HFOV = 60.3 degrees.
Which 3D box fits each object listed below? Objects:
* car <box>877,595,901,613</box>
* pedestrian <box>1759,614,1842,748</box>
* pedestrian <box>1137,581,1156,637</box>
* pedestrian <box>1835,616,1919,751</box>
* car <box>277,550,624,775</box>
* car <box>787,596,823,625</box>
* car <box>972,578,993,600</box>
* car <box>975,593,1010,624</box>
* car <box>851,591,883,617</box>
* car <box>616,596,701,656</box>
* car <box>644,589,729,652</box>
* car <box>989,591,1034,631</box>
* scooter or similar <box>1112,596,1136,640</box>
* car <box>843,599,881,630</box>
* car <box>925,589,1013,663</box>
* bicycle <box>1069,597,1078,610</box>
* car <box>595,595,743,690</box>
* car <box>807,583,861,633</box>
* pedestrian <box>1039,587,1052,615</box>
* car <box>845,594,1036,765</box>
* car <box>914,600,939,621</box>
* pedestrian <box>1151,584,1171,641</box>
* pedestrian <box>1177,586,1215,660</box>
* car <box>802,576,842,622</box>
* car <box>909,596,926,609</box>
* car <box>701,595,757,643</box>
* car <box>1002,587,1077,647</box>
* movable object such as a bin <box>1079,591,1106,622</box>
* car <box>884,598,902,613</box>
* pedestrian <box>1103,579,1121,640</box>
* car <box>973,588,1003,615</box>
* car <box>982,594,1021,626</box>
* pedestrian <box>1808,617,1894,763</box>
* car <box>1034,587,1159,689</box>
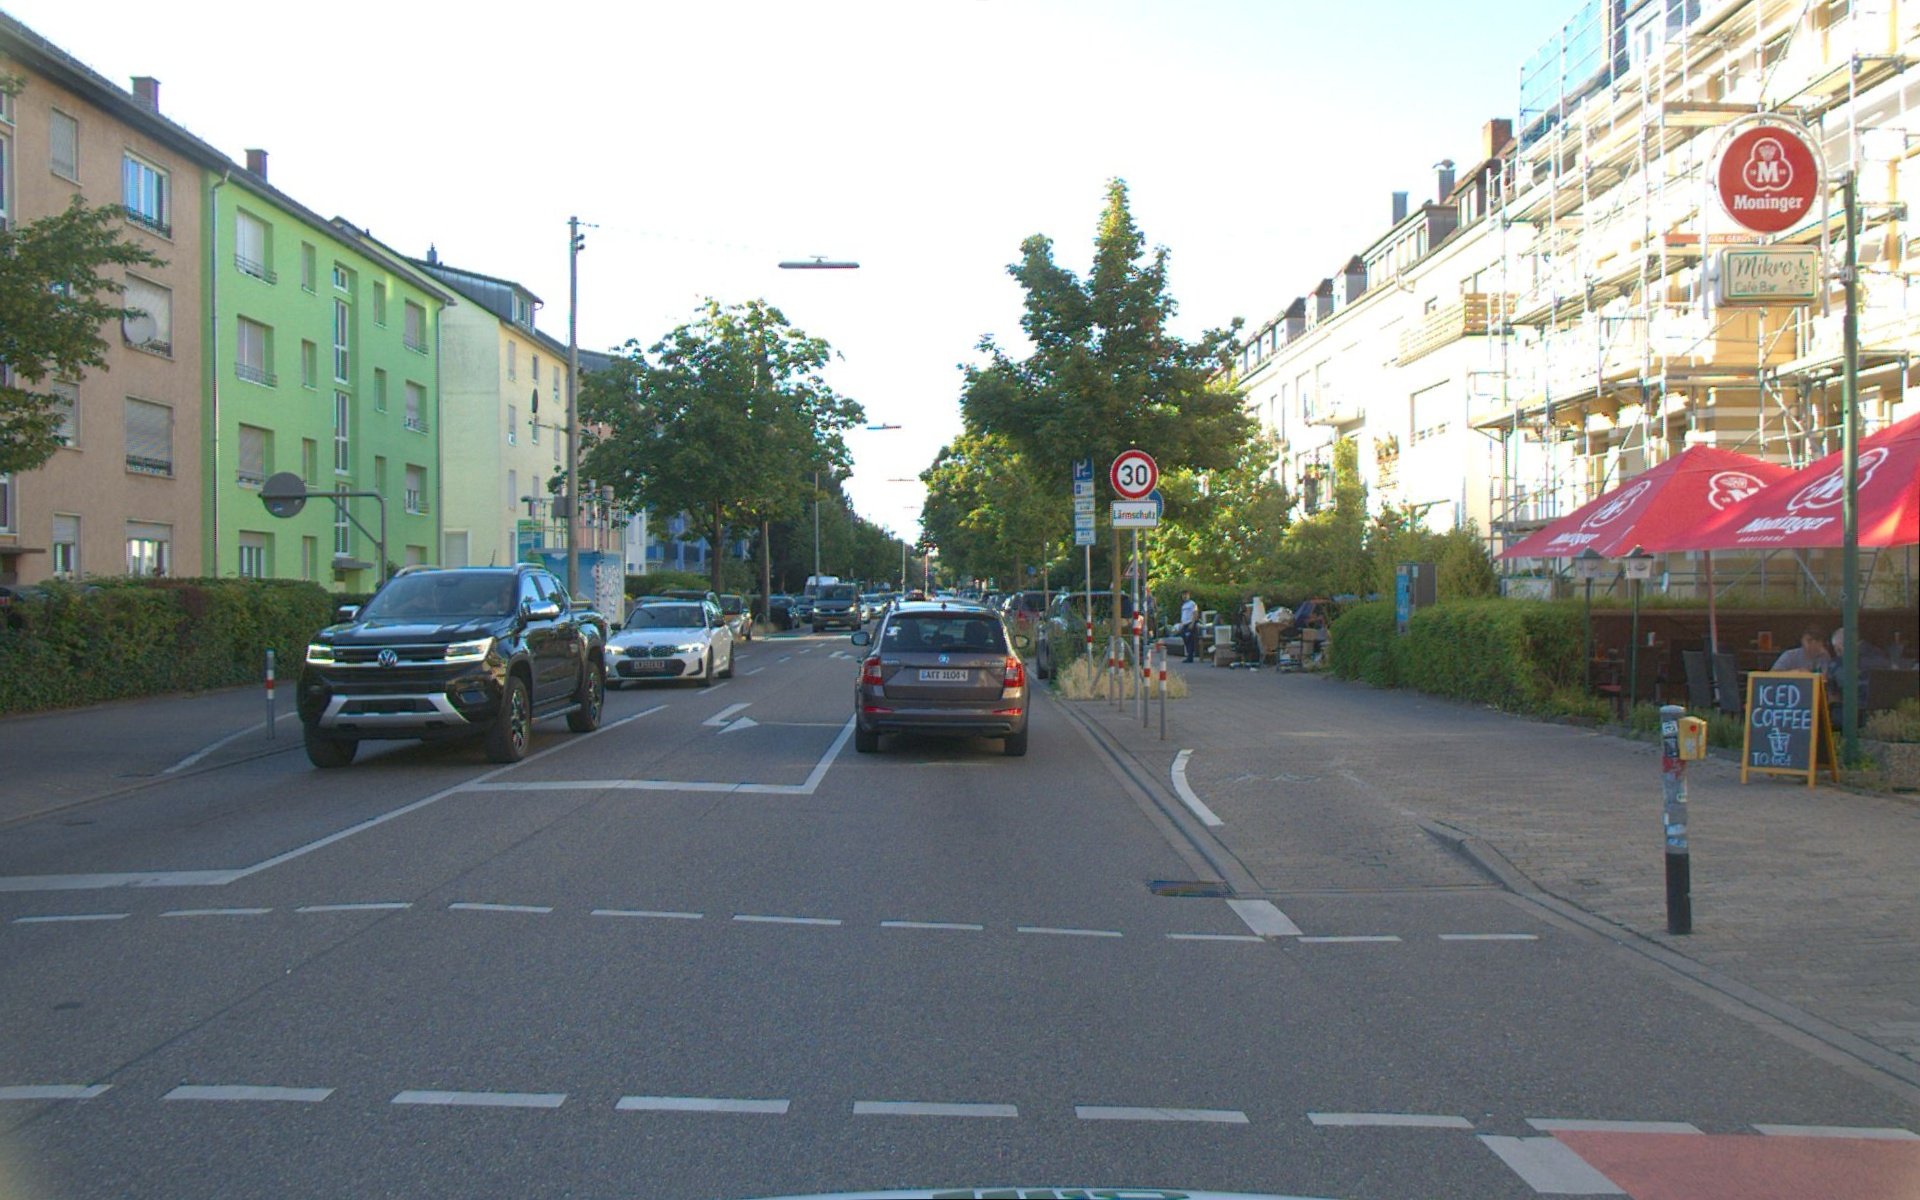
[{"bbox_3d":[-6.076,0.360,142.052,1.665,1.496,4.295,-1,0,2],"label":"car"},{"bbox_3d":[7.471,0.708,14.718,0.483,1.170,0.526,0,0,3],"label":"pedestrian"},{"bbox_3d":[5.759,0.265,51.058,0.500,1.726,0.526,0,0,-5],"label":"pedestrian"},{"bbox_3d":[8.133,0.726,14.671,0.476,1.170,0.526,0,0,3],"label":"pedestrian"},{"bbox_3d":[-4.897,0.529,16.780,1.824,1.861,5.227,-2,0,0],"label":"car"},{"bbox_3d":[-8.407,0.549,89.903,1.579,1.498,3.812,2,0,-1],"label":"car"},{"bbox_3d":[1.868,-0.896,137.946,1.718,1.716,4.252,1,0,1],"label":"car"},{"bbox_3d":[1.724,0.436,88.370,1.683,1.629,4.095,0,0,-1],"label":"car"},{"bbox_3d":[-5.839,0.249,104.051,1.795,1.496,4.450,-3,0,-1],"label":"car"},{"bbox_3d":[-8.046,0.659,44.430,1.648,1.547,4.189,0,0,-2],"label":"car"},{"bbox_3d":[-8.088,0.575,49.293,1.747,1.763,4.617,0,0,0],"label":"car"},{"bbox_3d":[2.172,0.461,70.673,1.836,1.609,4.821,-1,0,1],"label":"car"},{"bbox_3d":[5.059,0.558,50.876,0.730,1.340,0.721,0,0,6],"label":"scooter or similar"},{"bbox_3d":[-5.078,0.719,86.003,1.779,1.472,4.109,-3,0,-2],"label":"car"},{"bbox_3d":[0.166,0.599,38.339,1.854,1.532,3.788,3,-1,-1],"label":"car"},{"bbox_3d":[8.331,0.277,121.408,0.465,0.961,1.680,-1,0,-1],"label":"bicycle"},{"bbox_3d":[-5.066,0.682,29.386,1.799,1.499,4.671,-2,0,-1],"label":"car"},{"bbox_3d":[-5.344,0.318,70.803,1.953,1.980,4.776,-2,0,-1],"label":"car"},{"bbox_3d":[5.813,0.067,112.724,0.781,1.893,0.951,-1,0,10],"label":"pedestrian"},{"bbox_3d":[-0.146,0.723,17.171,1.718,1.518,4.000,1,0,1],"label":"car"},{"bbox_3d":[-2.575,0.779,127.158,1.746,1.506,3.968,1,0,-4],"label":"car"},{"bbox_3d":[6.088,0.367,50.119,0.500,1.726,0.526,0,0,-5],"label":"pedestrian"},{"bbox_3d":[5.154,0.488,36.126,0.547,1.595,0.744,0,0,-19],"label":"pedestrian"},{"bbox_3d":[-8.411,-0.058,101.272,1.953,2.662,7.103,1,0,-1],"label":"car"},{"bbox_3d":[-5.847,0.306,227.881,1.955,1.780,3.995,0,0,-6],"label":"car"},{"bbox_3d":[-8.151,0.655,58.458,1.468,1.645,2.862,0,0,2],"label":"car"},{"bbox_3d":[2.274,0.466,48.250,1.687,1.684,4.594,0,0,-3],"label":"car"},{"bbox_3d":[6.753,0.315,84.467,1.240,1.518,1.140,-2,0,9],"label":"movable object such as a bin"},{"bbox_3d":[-7.077,0.553,174.330,1.842,1.570,4.264,0,0,-4],"label":"car"},{"bbox_3d":[4.680,0.290,50.917,0.537,1.882,0.765,0,0,6],"label":"pedestrian"},{"bbox_3d":[1.895,0.100,114.856,1.764,1.840,4.421,1,0,-3],"label":"car"},{"bbox_3d":[2.021,0.457,81.161,1.683,1.520,4.392,0,0,-2],"label":"car"},{"bbox_3d":[7.389,0.734,13.733,0.403,1.170,0.632,0,0,3],"label":"pedestrian"},{"bbox_3d":[2.322,0.609,29.007,1.756,1.660,4.028,0,0,-2],"label":"car"}]
